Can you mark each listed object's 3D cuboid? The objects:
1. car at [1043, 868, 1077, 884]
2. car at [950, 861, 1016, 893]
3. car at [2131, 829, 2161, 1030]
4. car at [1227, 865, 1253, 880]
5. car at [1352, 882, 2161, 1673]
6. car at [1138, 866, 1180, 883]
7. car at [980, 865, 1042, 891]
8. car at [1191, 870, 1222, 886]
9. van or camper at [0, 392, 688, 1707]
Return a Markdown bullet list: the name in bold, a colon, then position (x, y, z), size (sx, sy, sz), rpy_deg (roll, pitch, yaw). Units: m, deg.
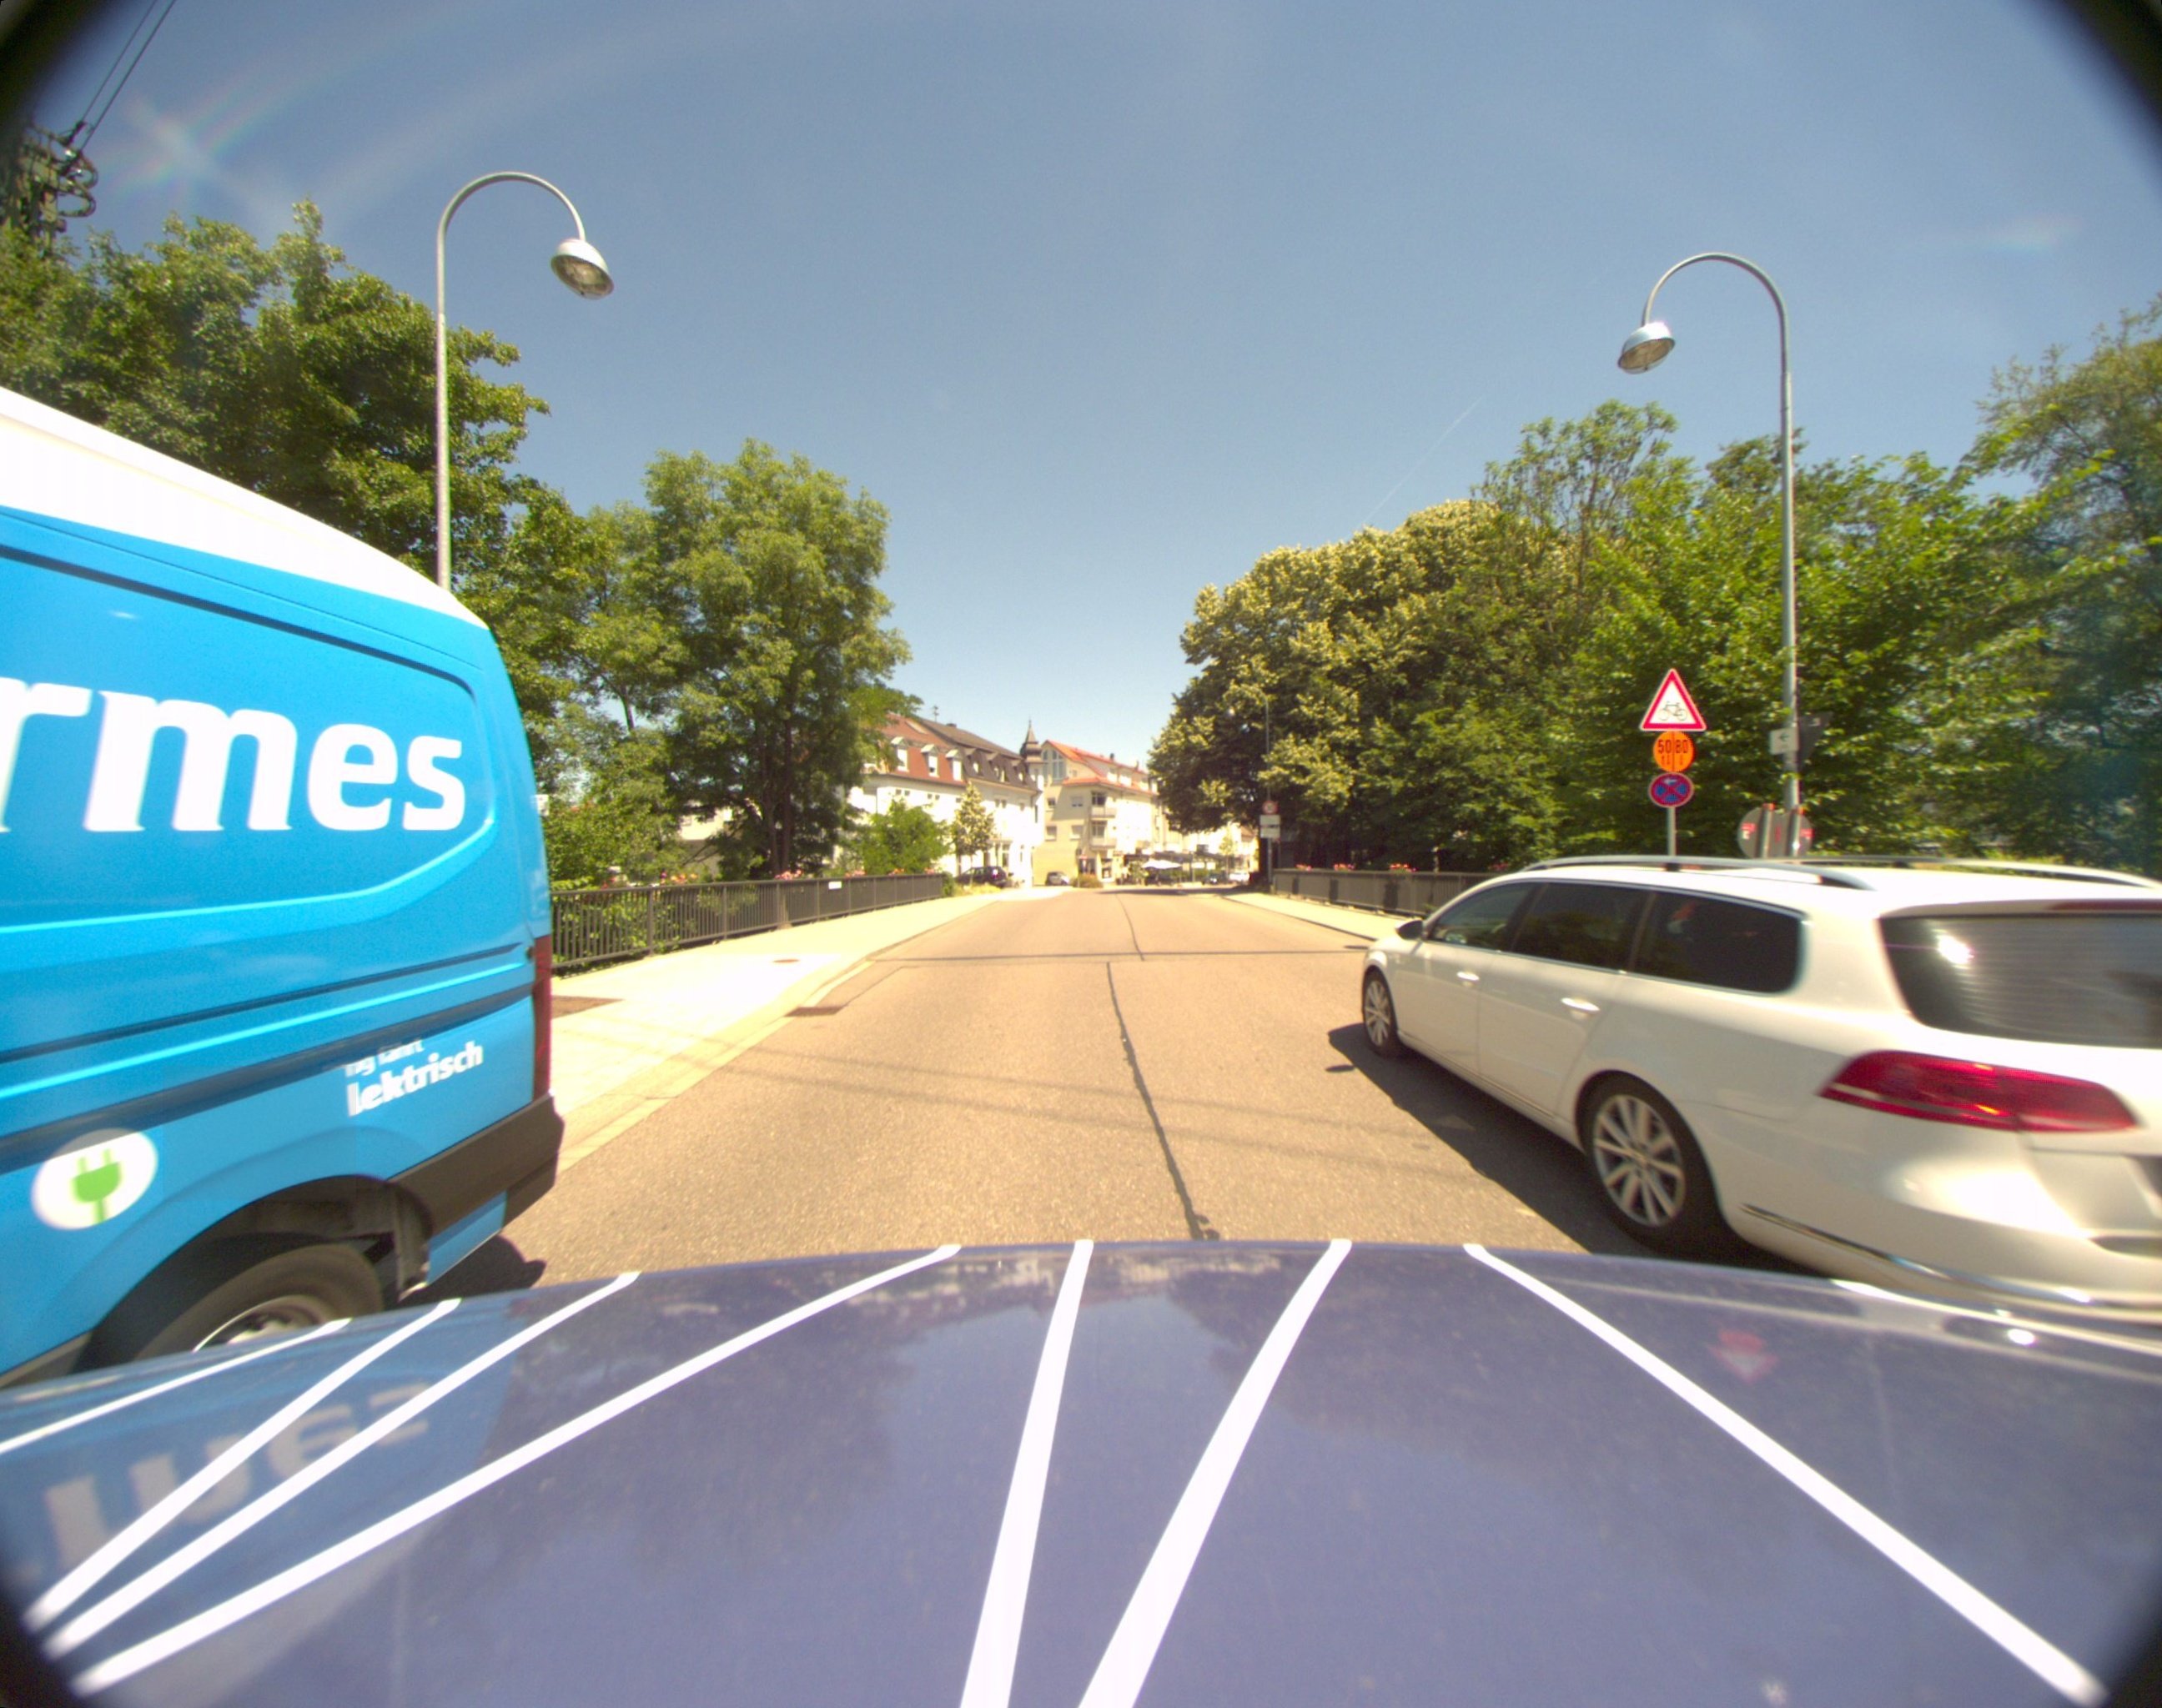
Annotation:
- **car**: position (-2.174, 2.278, 78.129), size (3.038, 1.444, 1.570), rpy_deg (-3, 0, 22)
- **car**: position (-6.765, 1.596, 52.724), size (3.991, 2.001, 2.003), rpy_deg (-3, 0, 26)
- **car**: position (12.322, 0.667, 6.698), size (4.439, 1.862, 1.818), rpy_deg (0, -2, -10)
- **car**: position (19.240, 2.253, 91.854), size (1.994, 1.674, 4.008), rpy_deg (0, 0, 30)
- **car**: position (3.047, 0.962, 3.708), size (1.998, 1.498, 4.289), rpy_deg (-1, -1, 2)
- **car**: position (7.879, 2.064, 76.787), size (4.009, 1.705, 1.995), rpy_deg (2, -2, -42)
- **car**: position (-5.158, 1.758, 55.727), size (3.990, 1.660, 2.004), rpy_deg (-4, -1, 26)
- **car**: position (14.101, 2.740, 85.653), size (2.001, 1.705, 3.995), rpy_deg (1, -2, -16)
- **van or camper**: position (-2.752, 0.506, 0.181), size (2.114, 2.453, 6.176), rpy_deg (1, 1, 0)
